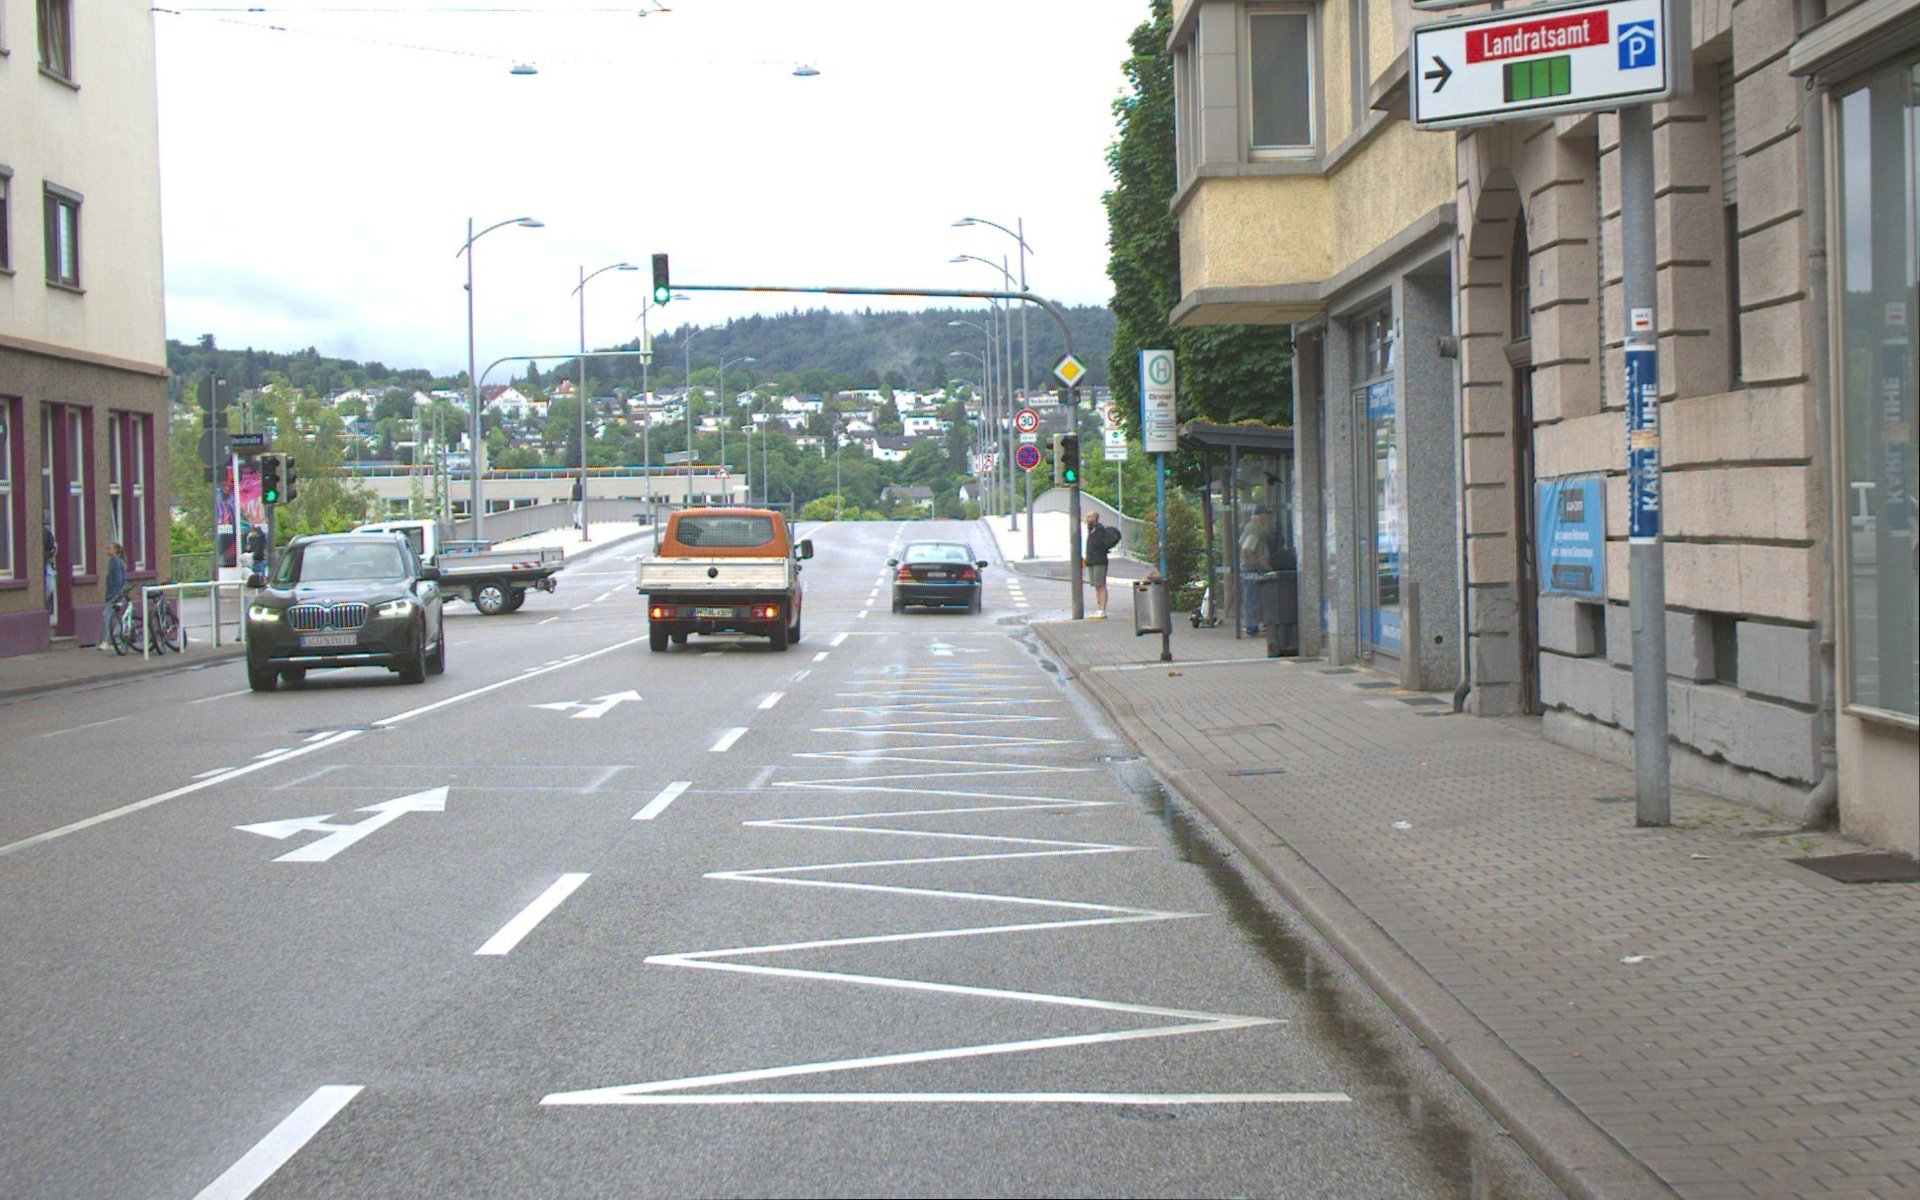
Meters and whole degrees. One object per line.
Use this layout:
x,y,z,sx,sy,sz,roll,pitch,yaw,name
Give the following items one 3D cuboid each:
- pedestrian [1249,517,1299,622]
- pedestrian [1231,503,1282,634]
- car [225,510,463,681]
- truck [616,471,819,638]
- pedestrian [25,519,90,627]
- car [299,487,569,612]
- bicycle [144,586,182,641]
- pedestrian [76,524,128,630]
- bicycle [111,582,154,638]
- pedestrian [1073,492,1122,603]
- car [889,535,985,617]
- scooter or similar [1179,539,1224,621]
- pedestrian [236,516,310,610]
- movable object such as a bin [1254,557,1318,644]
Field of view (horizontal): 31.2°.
4.251,-0.414,46.559,0.563,1.392,0.514,-2,1,-3,pedestrian
3.910,-0.414,45.359,0.619,1.693,0.656,-2,1,4,pedestrian
-6.820,-0.080,38.504,1.930,1.751,4.573,-2,1,-2,car
-3.276,-0.631,47.540,2.400,2.122,5.315,-2,1,0,truck
-13.465,-0.407,51.298,0.773,1.572,0.588,-2,1,0,pedestrian
-10.531,-1.014,69.081,4.993,2.342,2.000,-2,1,4,car
-11.534,0.192,49.754,0.264,0.780,1.111,-2,1,0,bicycle
-12.736,-0.339,51.036,0.574,1.548,0.740,-2,1,-3,pedestrian
-11.921,0.143,49.554,0.264,0.780,1.422,-2,1,0,bicycle
2.302,-0.877,57.615,0.733,1.835,0.631,-2,1,-2,pedestrian
-0.435,-0.476,66.236,1.754,1.474,4.000,-2,1,0,car
3.523,-0.304,50.218,0.511,1.168,1.549,-2,1,0,scooter or similar
-15.083,-0.813,75.457,0.985,2.007,1.171,-1,1,39,pedestrian
3.541,0.005,37.381,0.600,0.923,0.704,-2,1,0,movable object such as a bin
